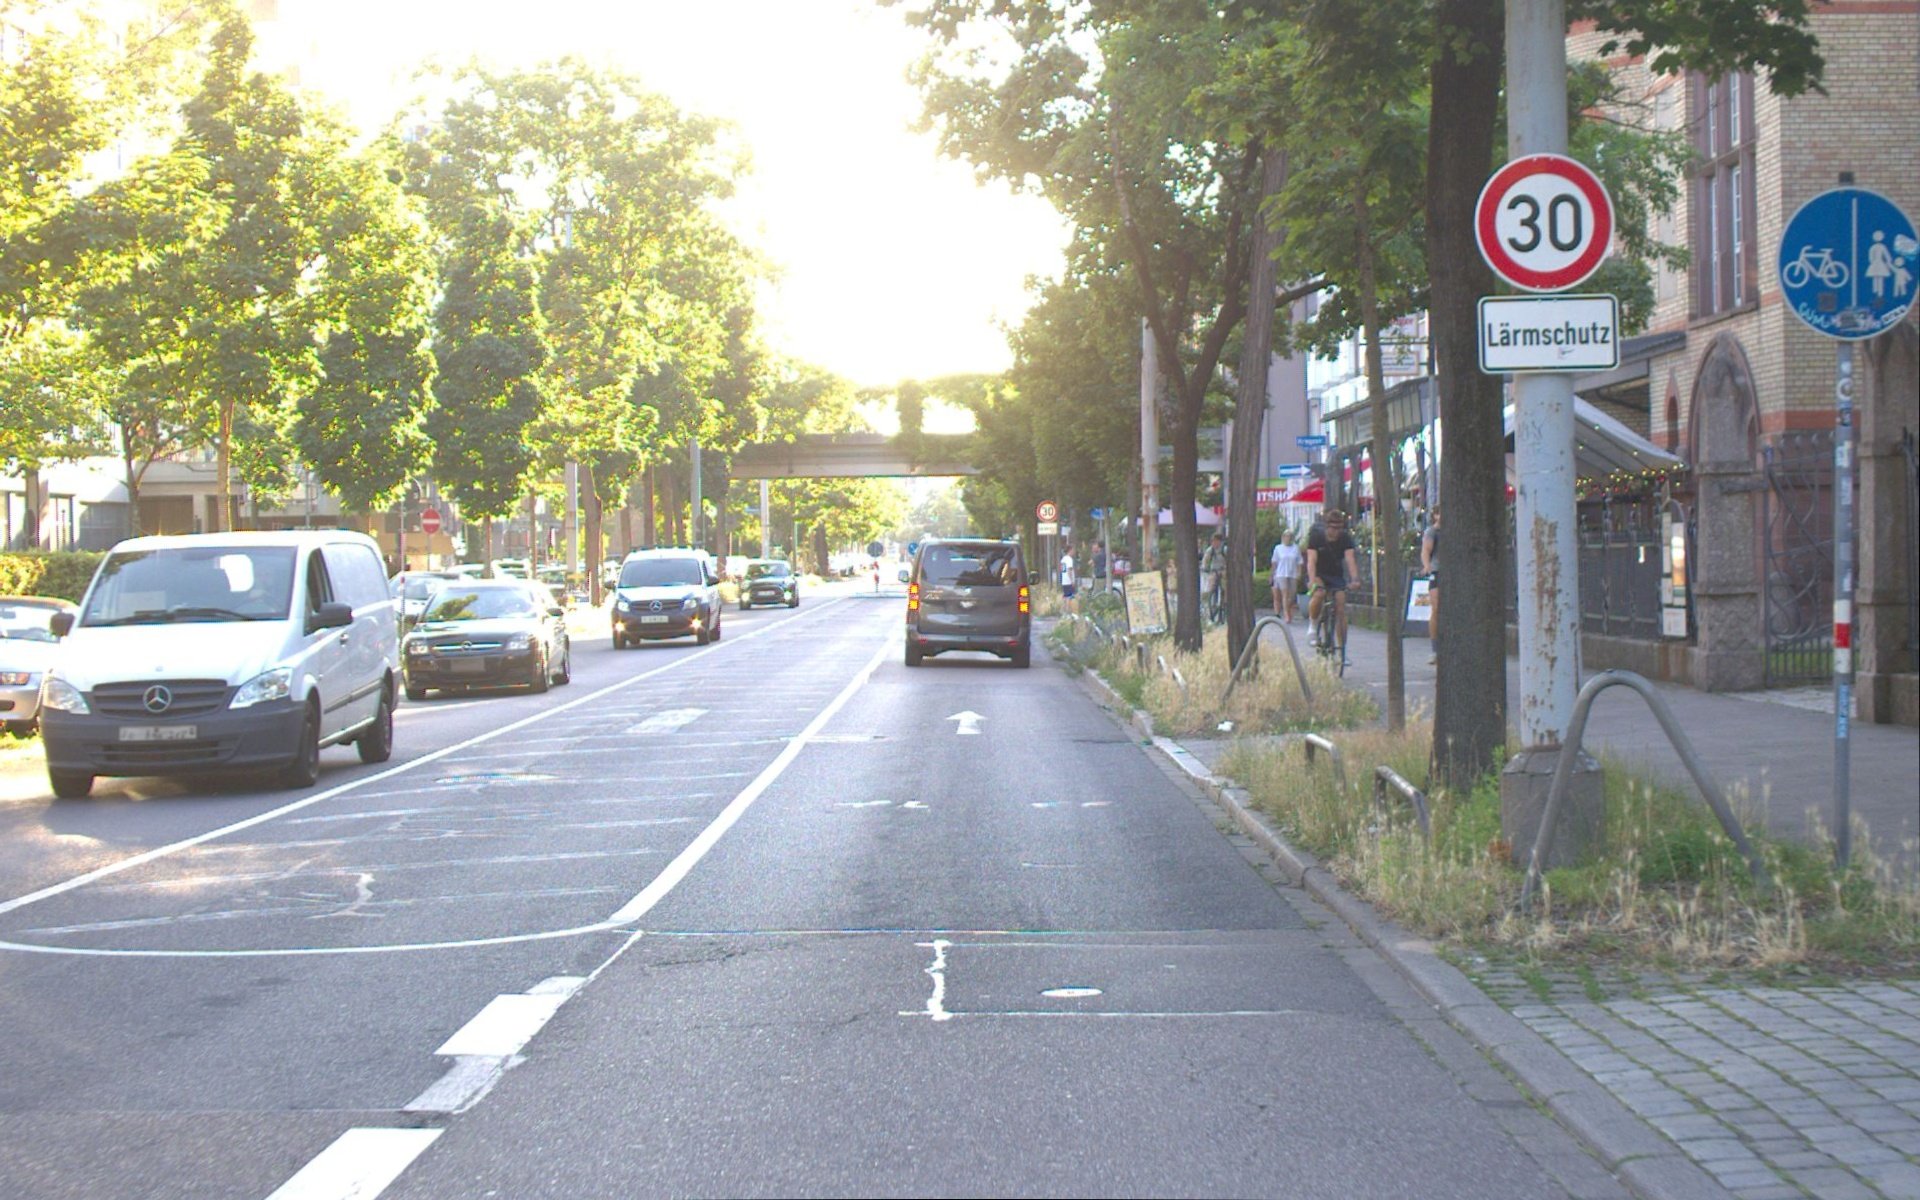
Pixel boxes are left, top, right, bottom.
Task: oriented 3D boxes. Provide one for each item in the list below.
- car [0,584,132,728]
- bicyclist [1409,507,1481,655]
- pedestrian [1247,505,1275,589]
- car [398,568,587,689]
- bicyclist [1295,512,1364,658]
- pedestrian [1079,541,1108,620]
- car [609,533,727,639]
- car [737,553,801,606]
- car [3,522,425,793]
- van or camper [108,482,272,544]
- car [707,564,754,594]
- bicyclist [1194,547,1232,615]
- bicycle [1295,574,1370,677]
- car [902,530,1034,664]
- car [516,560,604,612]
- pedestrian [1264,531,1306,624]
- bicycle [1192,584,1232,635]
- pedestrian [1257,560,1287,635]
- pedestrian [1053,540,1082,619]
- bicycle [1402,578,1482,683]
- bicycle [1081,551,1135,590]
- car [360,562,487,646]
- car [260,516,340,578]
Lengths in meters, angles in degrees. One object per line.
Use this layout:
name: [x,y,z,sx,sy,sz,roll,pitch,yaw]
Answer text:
car: [-9.201,0.502,33.242,1.536,1.244,3.614,1,1,-1]
bicyclist: [5.111,-0.207,36.286,0.595,1.527,0.893,1,1,0]
pedestrian: [9.153,-1.613,104.677,0.715,2.530,0.824,1,1,0]
car: [-5.855,0.320,43.514,1.759,1.381,4.305,-1,1,0]
bicyclist: [3.943,-0.168,36.735,0.595,1.527,0.893,1,1,0]
pedestrian: [3.173,-0.466,81.843,0.504,1.882,0.545,1,1,-14]
car: [-5.363,-0.282,63.609,1.833,1.846,4.474,-1,1,-1]
car: [-5.810,-0.644,104.843,1.679,1.525,4.000,-2,1,0]
car: [-5.568,0.362,26.377,1.993,1.825,5.169,-1,1,1]
van or camper: [-33.517,-3.771,149.836,6.562,2.513,2.449,1,1,-1]
car: [-11.536,-1.075,173.085,1.993,1.409,4.237,1,1,0]
bicyclist: [4.641,-0.351,63.076,0.585,1.232,1.112,1,1,0]
bicycle: [3.952,0.258,36.585,0.544,1.036,2.089,1,1,0]
car: [0.148,-0.080,51.955,1.887,1.918,3.839,-1,1,1]
car: [-11.577,-0.421,99.698,1.993,1.409,4.237,1,1,0]
pedestrian: [5.787,-0.407,61.231,0.644,1.627,0.656,1,1,1]
bicycle: [4.620,0.162,63.100,0.579,0.894,1.987,1,1,1]
pedestrian: [5.671,-0.051,62.543,0.467,1.346,0.530,1,1,1]
pedestrian: [2.571,-0.499,82.326,0.504,1.882,0.545,1,1,-14]
bicycle: [5.067,0.305,36.226,0.517,1.036,2.089,1,1,0]
bicycle: [3.561,-0.723,82.707,0.588,0.894,1.988,1,1,-19]
car: [-9.427,0.044,60.659,1.638,1.381,4.000,1,1,-1]
car: [-25.298,-2.037,131.890,1.993,2.300,5.245,1,1,0]
